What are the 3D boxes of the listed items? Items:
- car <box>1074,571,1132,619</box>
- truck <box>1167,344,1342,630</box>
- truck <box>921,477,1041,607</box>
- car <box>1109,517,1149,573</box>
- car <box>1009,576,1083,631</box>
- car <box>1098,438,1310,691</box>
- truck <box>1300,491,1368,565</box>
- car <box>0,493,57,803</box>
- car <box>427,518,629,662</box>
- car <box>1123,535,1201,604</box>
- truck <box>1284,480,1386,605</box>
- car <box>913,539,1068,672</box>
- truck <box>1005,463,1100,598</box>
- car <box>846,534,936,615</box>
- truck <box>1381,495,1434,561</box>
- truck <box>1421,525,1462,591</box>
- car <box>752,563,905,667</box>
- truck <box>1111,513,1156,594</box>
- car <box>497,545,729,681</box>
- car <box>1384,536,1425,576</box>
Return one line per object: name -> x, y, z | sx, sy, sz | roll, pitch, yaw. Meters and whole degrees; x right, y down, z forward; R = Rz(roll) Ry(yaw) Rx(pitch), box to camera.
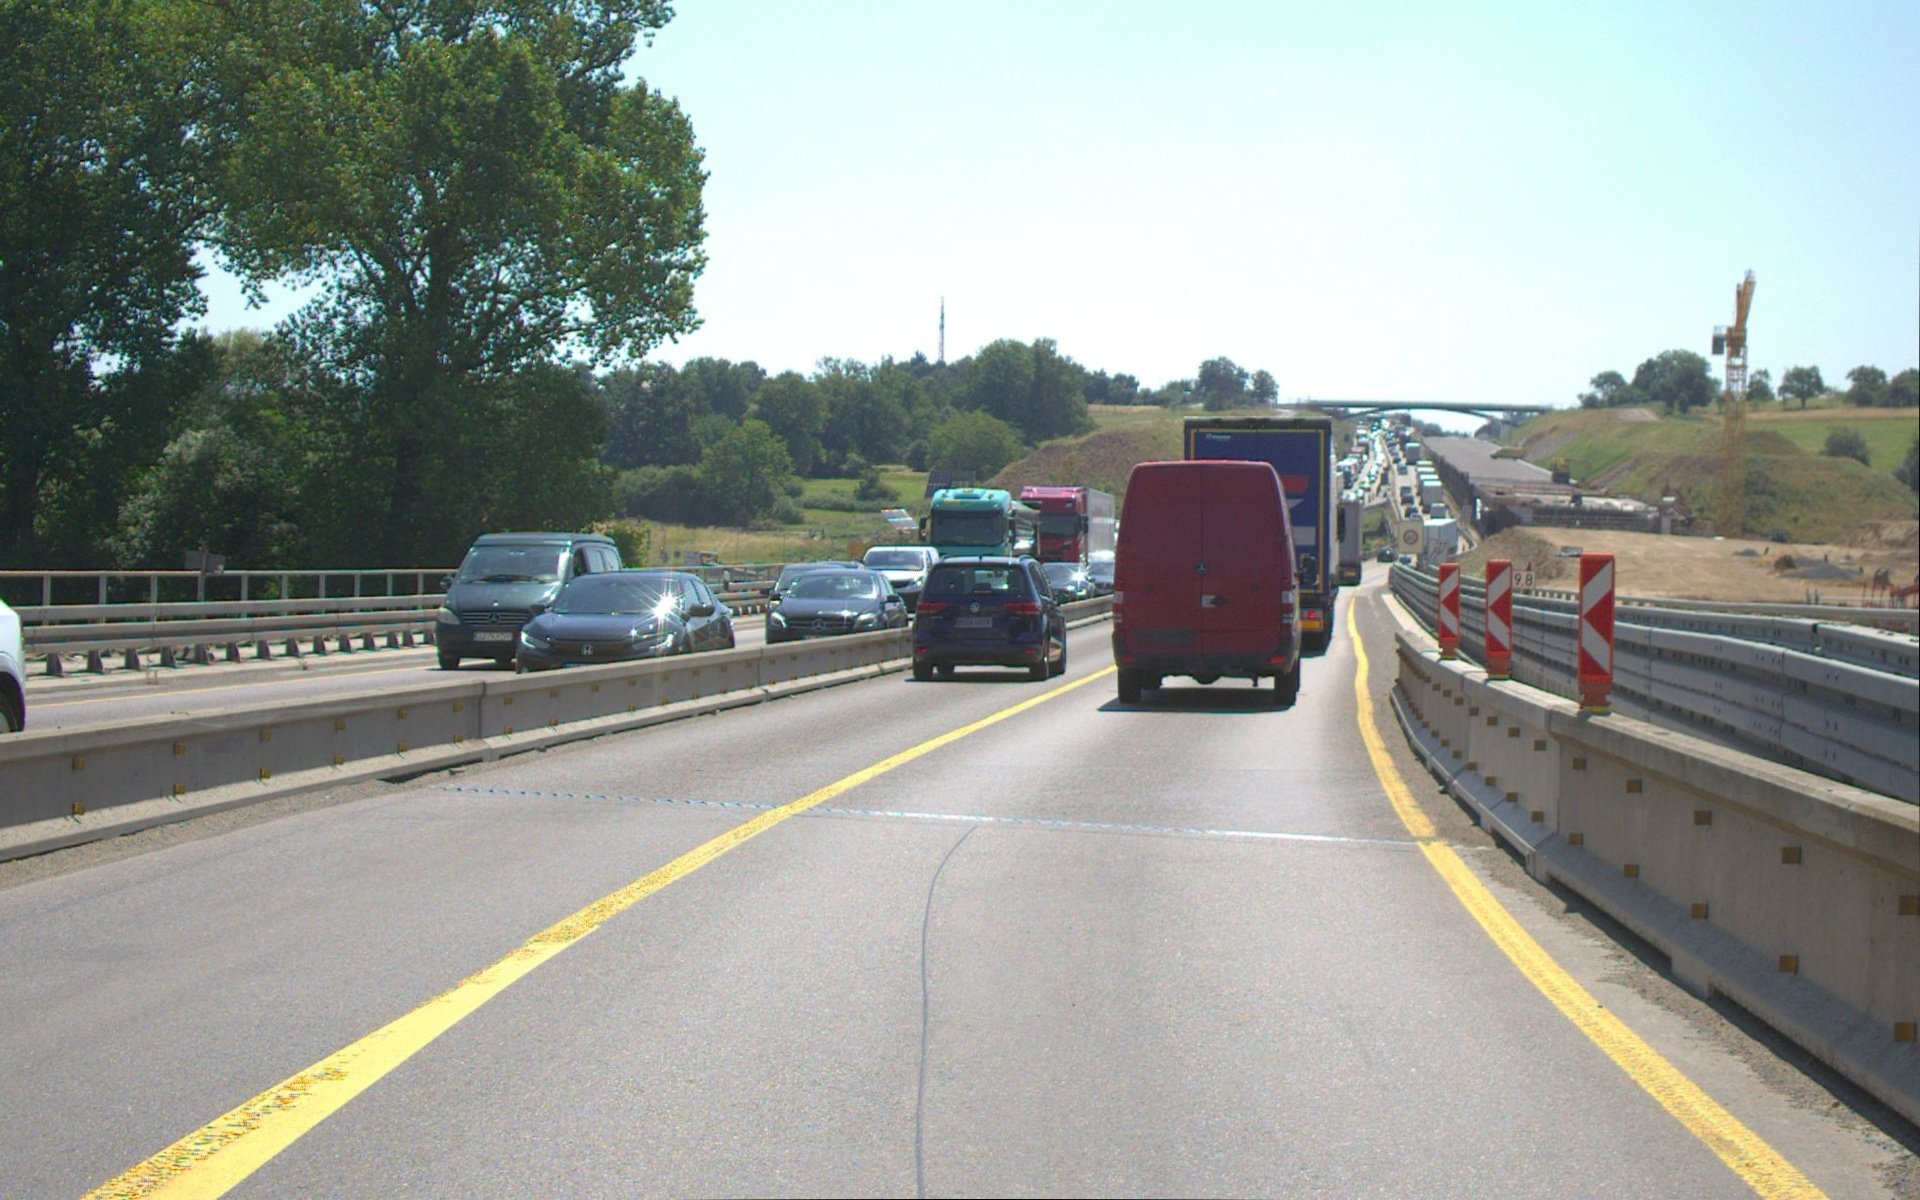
car -> 4.757, -0.185, 113.838 | 1.710, 1.491, 3.600 | 1, 1, 5
truck -> 5.376, -1.994, 62.973 | 2.945, 4.929, 6.740 | 1, 1, 5
truck -> 0.792, -1.870, 112.308 | 2.809, 3.950, 12.132 | 1, 1, 5
car -> 8.027, -2.614, 163.413 | 1.618, 2.593, 3.889 | 1, 1, 6
car -> 2.482, 0.082, 98.614 | 1.821, 1.491, 4.133 | 1, 1, 5
car -> 2.762, -0.325, 38.986 | 2.150, 2.602, 5.437 | 2, -1, 4
truck -> 18.394, -3.498, 169.276 | 3.184, 2.967, 8.896 | 1, -3, 6
car -> -6.159, 0.304, 17.011 | 1.821, 1.641, 4.570 | 1, 2, 5
car -> -6.196, -0.165, 49.832 | 1.821, 1.936, 5.063 | 1, 1, 5
car -> 5.217, -0.783, 88.419 | 1.821, 1.691, 4.133 | 1, 1, 5
truck -> 12.424, -1.888, 113.631 | 3.183, 3.976, 6.740 | 1, 1, 7
car -> 0.462, 0.029, 46.548 | 1.734, 1.629, 4.389 | 1, 2, 5
truck -> 3.673, -2.655, 133.706 | 2.809, 4.922, 12.132 | 1, 1, 5
car -> -1.756, -0.674, 89.314 | 1.994, 2.007, 4.000 | 1, 1, 3
truck -> 22.142, -3.545, 170.169 | 2.291, 3.185, 6.481 | 1, 1, 5
truck -> 30.223, -2.589, 215.796 | 2.292, 3.726, 6.480 | 1, -3, 6
car -> -1.996, 0.195, 53.378 | 1.757, 1.491, 4.439 | 1, 1, 6
truck -> 9.413, -2.479, 186.119 | 1.994, 3.992, 6.480 | 1, -3, 6
car -> -3.752, 0.106, 37.903 | 1.669, 1.360, 4.439 | 1, 1, 6
car -> 19.464, -1.920, 150.611 | 1.618, 1.694, 3.889 | 1, 1, 6
